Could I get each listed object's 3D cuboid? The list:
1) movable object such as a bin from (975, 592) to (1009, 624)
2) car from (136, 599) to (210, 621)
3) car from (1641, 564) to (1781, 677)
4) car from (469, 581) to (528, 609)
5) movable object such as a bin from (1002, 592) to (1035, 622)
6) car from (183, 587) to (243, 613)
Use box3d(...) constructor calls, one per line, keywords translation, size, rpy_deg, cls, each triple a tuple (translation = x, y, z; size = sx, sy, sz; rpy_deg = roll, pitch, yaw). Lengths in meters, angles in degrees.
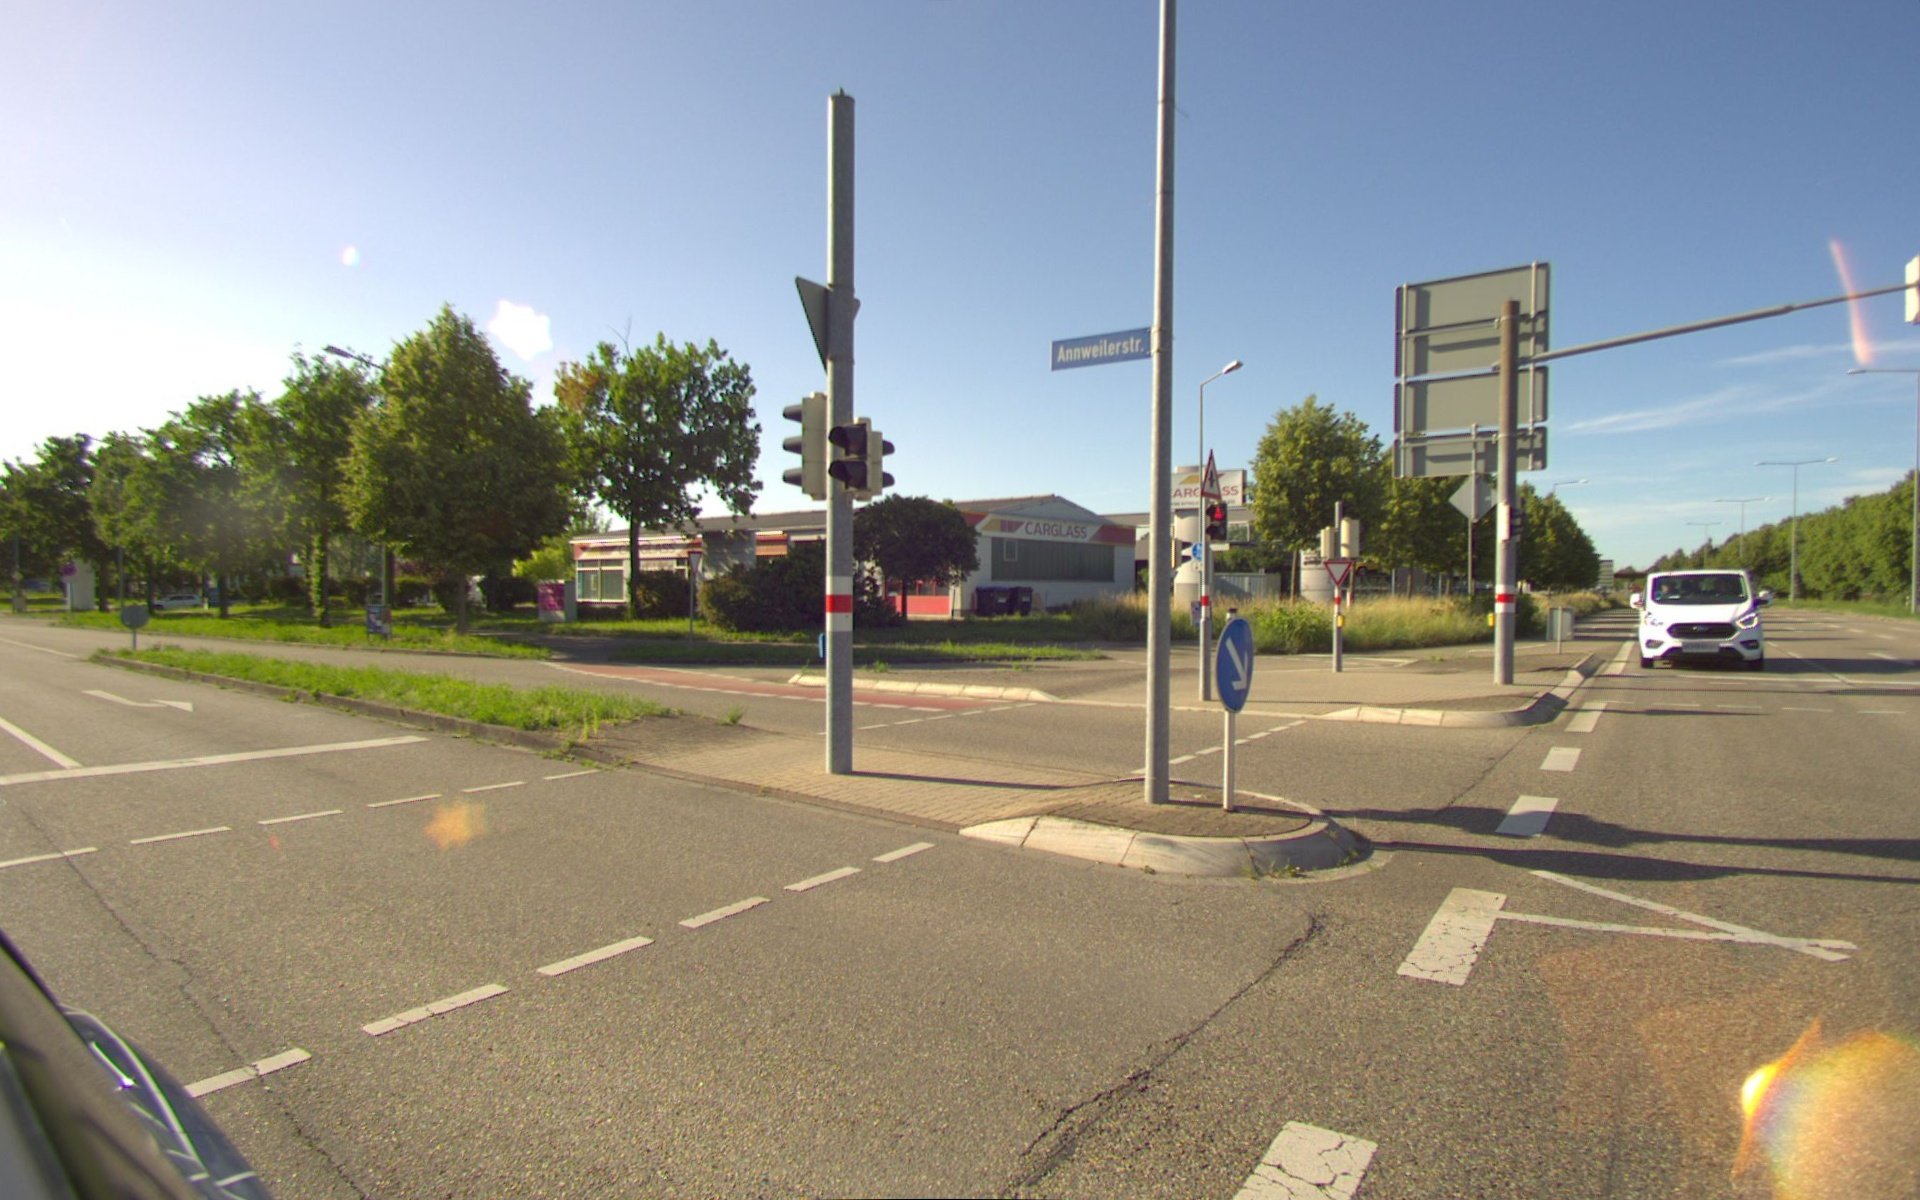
box3d(translation=(1.375, 0.334, 43.136), size=(0.992, 1.308, 1.116), rpy_deg=(0, 0, 41), cls="movable object such as a bin")
box3d(translation=(-62.024, 0.756, 79.803), size=(4.427, 1.719, 2.002), rpy_deg=(0, 0, -44), cls="car")
box3d(translation=(15.411, 0.386, 20.968), size=(2.043, 2.029, 5.213), rpy_deg=(-2, -1, 35), cls="car")
box3d(translation=(-38.506, -0.402, 84.481), size=(1.776, 2.233, 4.160), rpy_deg=(0, 0, 38), cls="car")
box3d(translation=(2.571, 0.288, 44.541), size=(0.992, 1.308, 1.116), rpy_deg=(0, 0, 41), cls="movable object such as a bin")
box3d(translation=(-63.098, -0.020, 85.510), size=(3.938, 2.028, 2.003), rpy_deg=(-3, 2, -41), cls="car")
